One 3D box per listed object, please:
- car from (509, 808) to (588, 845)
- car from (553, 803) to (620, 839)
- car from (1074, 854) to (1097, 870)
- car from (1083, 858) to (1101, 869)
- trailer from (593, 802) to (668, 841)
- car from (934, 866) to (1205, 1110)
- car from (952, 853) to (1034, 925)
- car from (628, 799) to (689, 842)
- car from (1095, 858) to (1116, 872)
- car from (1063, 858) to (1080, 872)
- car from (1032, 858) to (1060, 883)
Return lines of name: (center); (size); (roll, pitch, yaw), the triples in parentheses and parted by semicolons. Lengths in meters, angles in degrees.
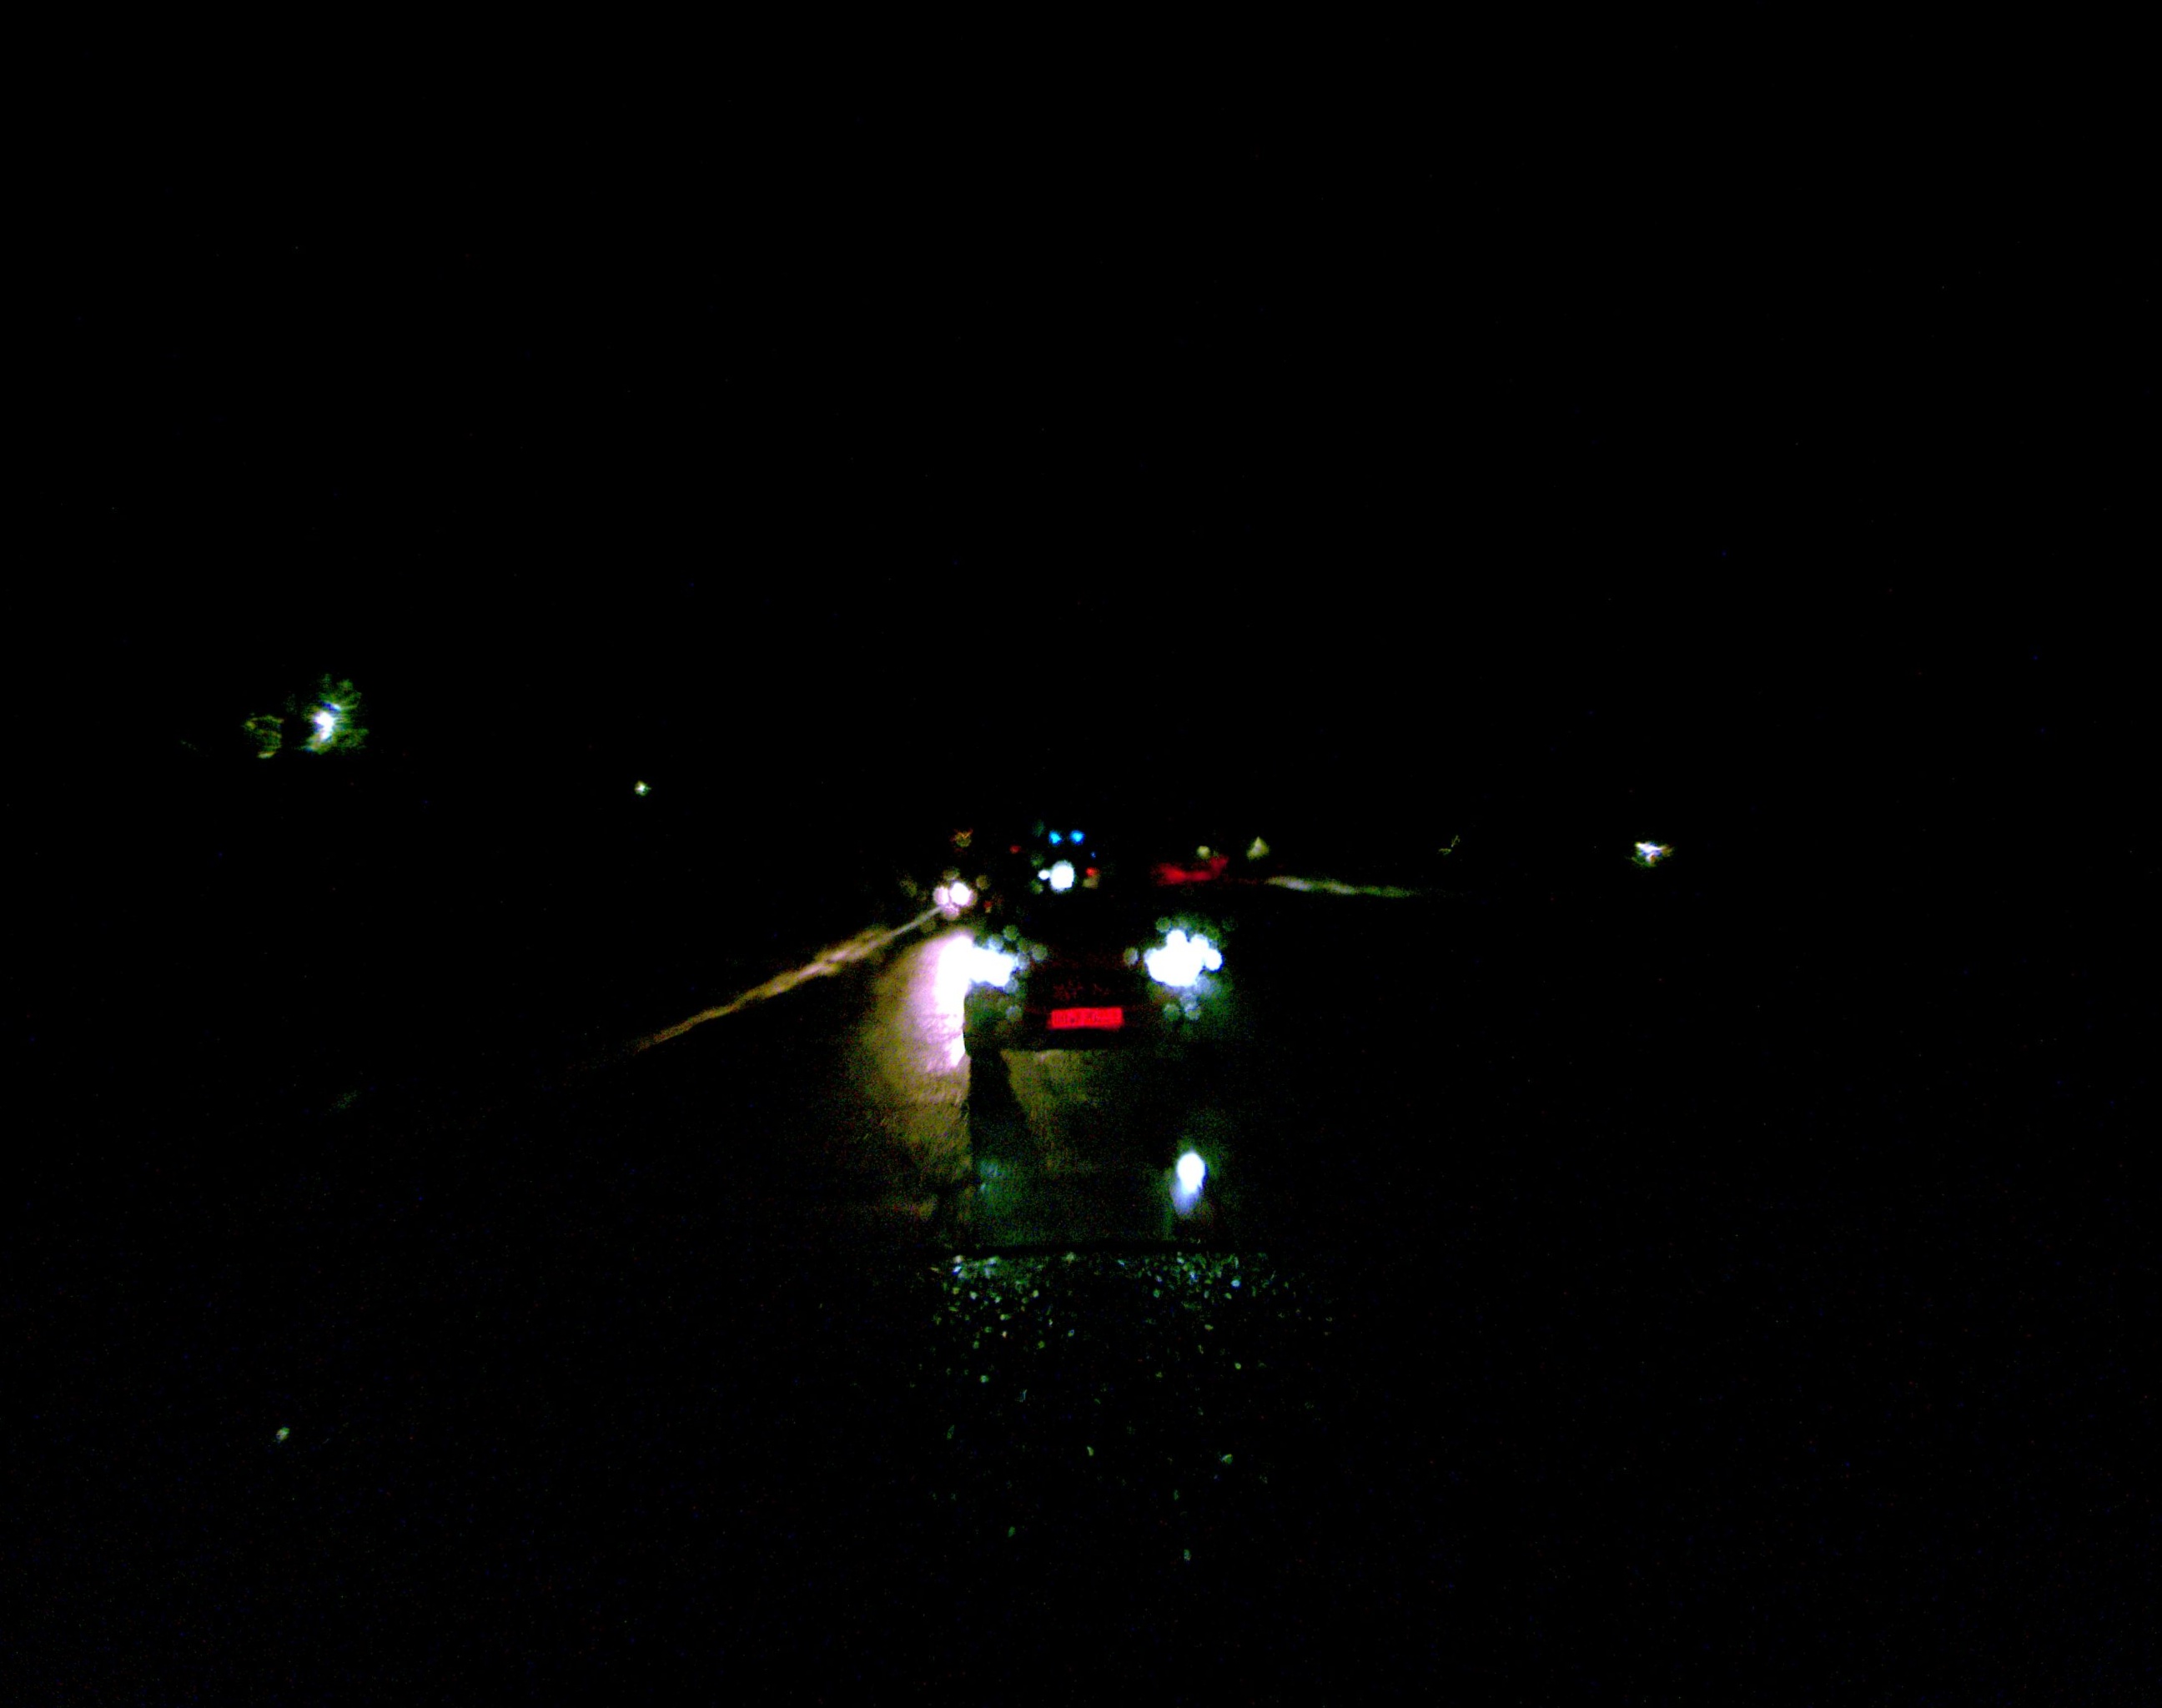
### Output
car: (-23.385, -1.180, 33.535); (1.619, 1.464, 3.994); (-1, 0, -16)
car: (-24.438, -1.600, 37.696); (1.619, 1.630, 3.994); (-1, 0, -16)
car: (0.353, 0.708, 69.527); (1.699, 1.426, 4.291); (-2, 0, -4)
car: (1.456, 1.340, 105.267); (2.083, 1.441, 4.990); (-1, 0, -4)
trailer: (-26.582, -1.877, 45.101); (2.234, 2.059, 5.713); (-1, 0, -14)
car: (-0.075, 0.942, 7.520); (1.810, 1.590, 4.786); (-1, 0, 0)
car: (-2.412, 0.914, 21.845); (1.759, 1.807, 4.710); (-2, 0, 0)
car: (-27.971, -2.150, 50.525); (2.122, 2.619, 5.444); (-1, 0, -14)
car: (2.694, 1.210, 84.379); (1.923, 1.435, 4.544); (-1, 0, -3)
car: (-1.167, 1.318, 90.711); (1.849, 1.565, 4.595); (-1, 0, -3)
car: (-2.156, 1.019, 47.442); (1.625, 1.477, 3.785); (-1, -1, -1)
